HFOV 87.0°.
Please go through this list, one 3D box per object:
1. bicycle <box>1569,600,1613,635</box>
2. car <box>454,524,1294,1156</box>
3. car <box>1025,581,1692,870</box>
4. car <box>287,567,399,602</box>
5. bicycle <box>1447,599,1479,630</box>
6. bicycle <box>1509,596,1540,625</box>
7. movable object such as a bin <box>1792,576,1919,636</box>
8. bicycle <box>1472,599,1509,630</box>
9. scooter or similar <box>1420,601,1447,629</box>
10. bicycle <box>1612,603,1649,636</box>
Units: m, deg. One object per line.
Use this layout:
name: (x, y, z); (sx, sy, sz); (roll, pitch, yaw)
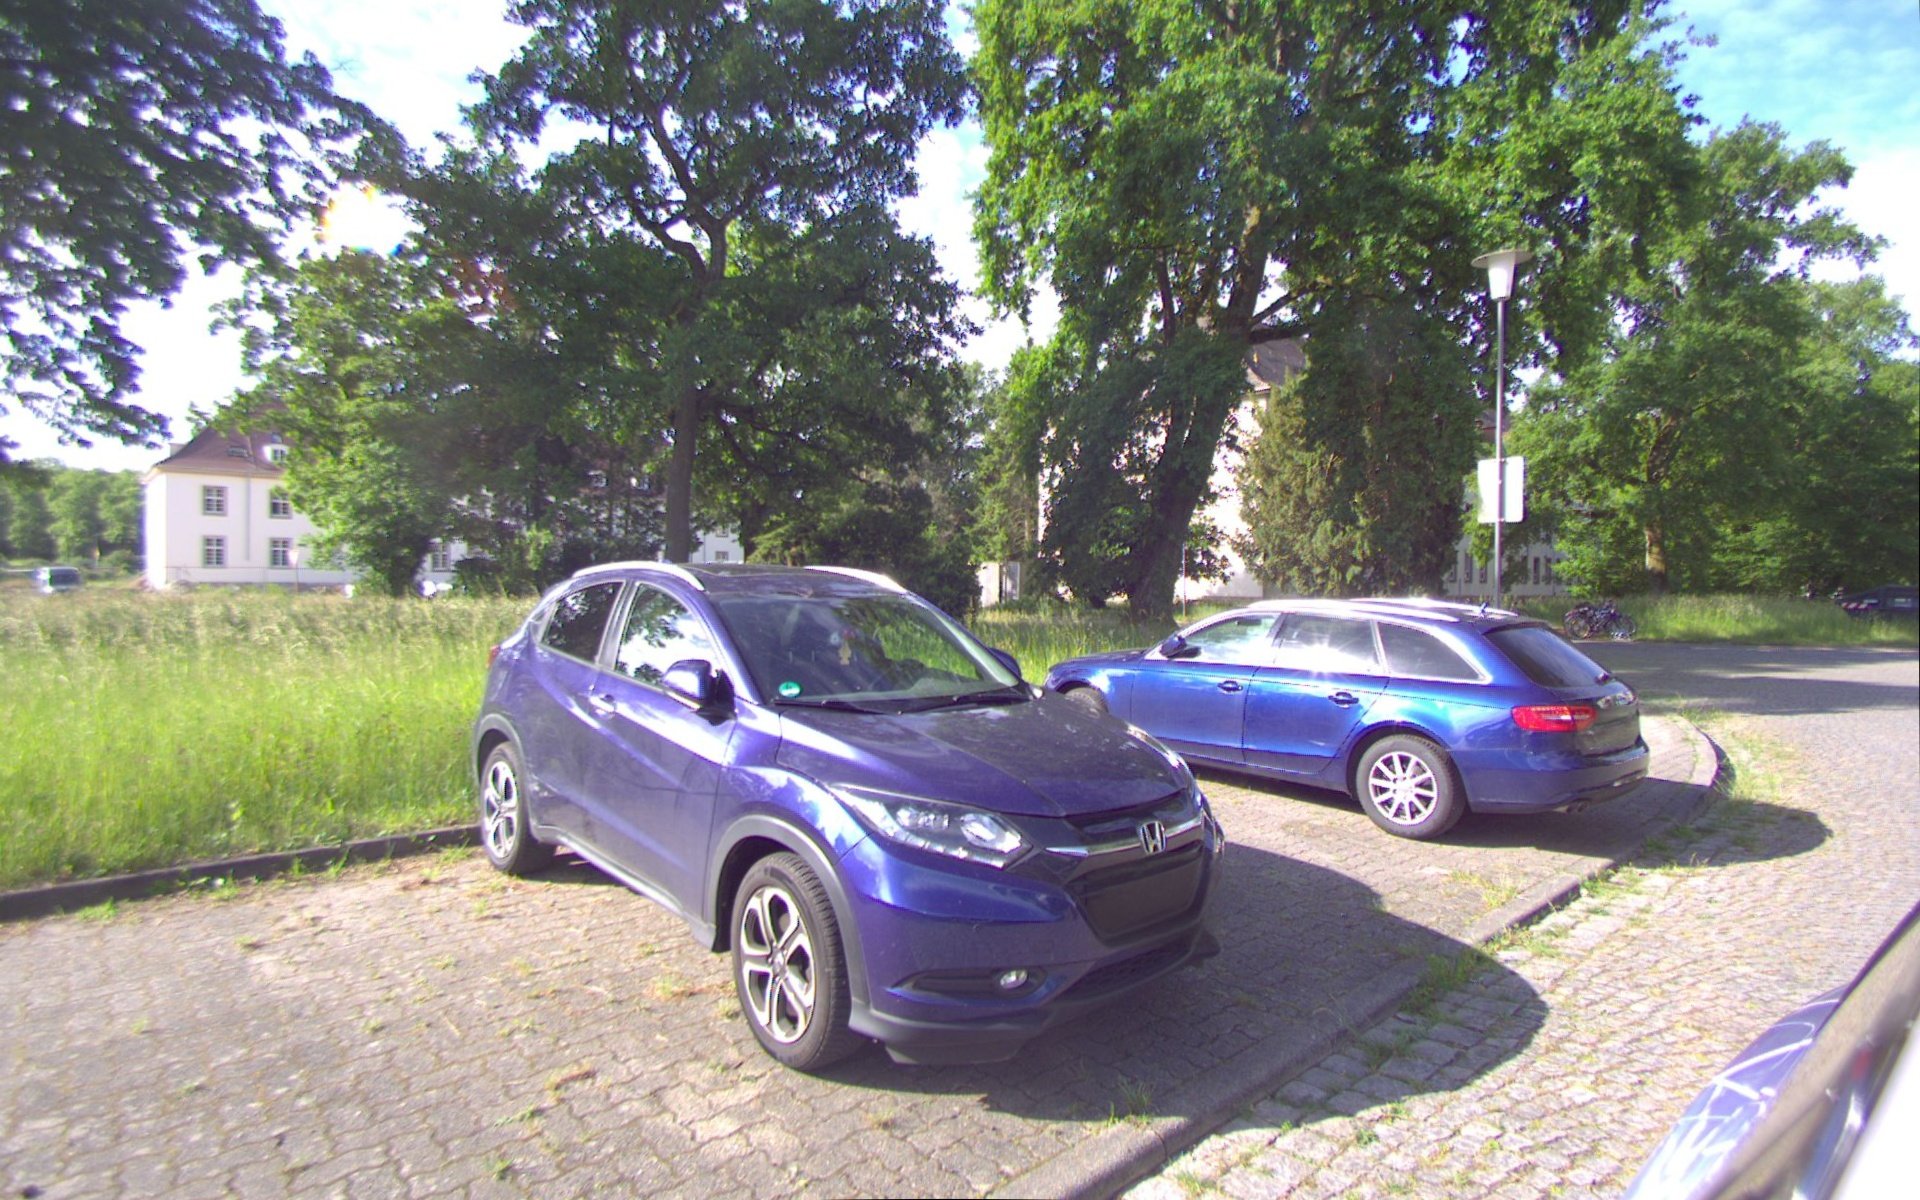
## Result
bicycle: (19.419, 0.537, 31.152); (1.232, 1.029, 0.711); (0, 1, -35)
car: (-0.801, 0.568, 4.716); (1.722, 1.611, 4.182); (0, 1, -42)
car: (2.639, 0.643, 7.714); (1.683, 1.425, 4.461); (0, 3, -39)
car: (-40.554, -1.055, 66.721); (5.889, 2.198, 2.381); (-1, 1, -20)
bicycle: (17.033, 0.476, 34.265); (1.009, 1.029, 0.619); (0, 1, -40)
bicycle: (20.585, 0.363, 36.920); (0.699, 1.029, 1.024); (1, 1, 10)
movable object such as a bin: (29.035, 0.175, 31.115); (1.959, 1.781, 4.948); (0, 1, -27)
bicycle: (17.809, 0.479, 33.947); (1.008, 1.029, 0.711); (0, 1, -35)
scooter or similar: (16.006, 0.497, 34.206); (0.767, 0.941, 0.257); (1, 1, 42)
bicycle: (20.349, 0.575, 30.708); (0.745, 0.946, 1.122); (1, 1, 44)
